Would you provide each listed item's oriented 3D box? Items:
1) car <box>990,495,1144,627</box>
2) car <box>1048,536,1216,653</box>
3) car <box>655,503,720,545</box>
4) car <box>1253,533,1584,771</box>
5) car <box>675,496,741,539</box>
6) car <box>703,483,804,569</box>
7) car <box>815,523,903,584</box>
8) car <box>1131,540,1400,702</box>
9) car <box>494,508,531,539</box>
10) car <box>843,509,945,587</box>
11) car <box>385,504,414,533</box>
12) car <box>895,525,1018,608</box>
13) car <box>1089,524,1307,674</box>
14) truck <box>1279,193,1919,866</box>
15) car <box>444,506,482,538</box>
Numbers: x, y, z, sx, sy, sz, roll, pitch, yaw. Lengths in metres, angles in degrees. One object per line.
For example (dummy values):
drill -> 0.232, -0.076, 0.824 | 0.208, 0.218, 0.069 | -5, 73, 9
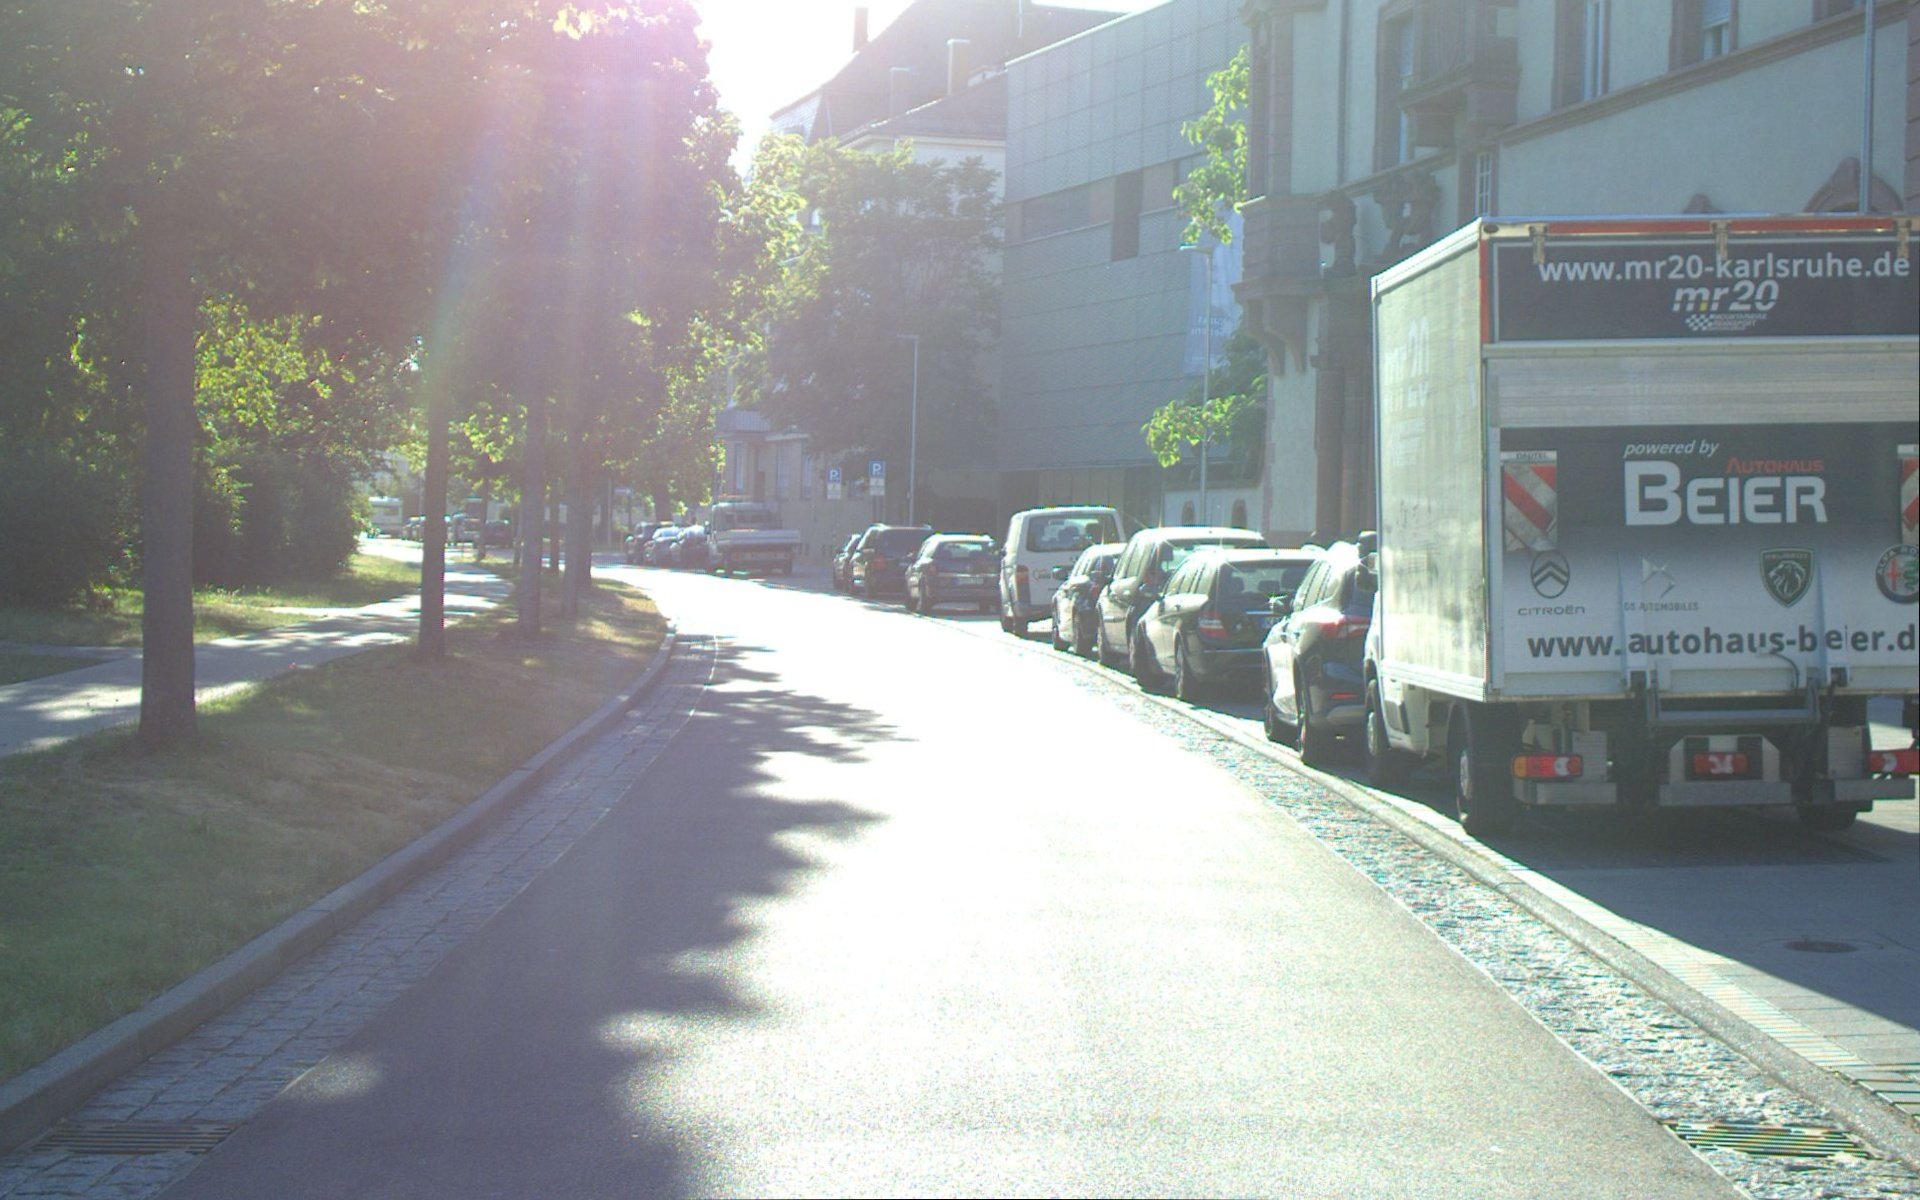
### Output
car -> 1.658, -0.646, 54.981 | 1.993, 1.959, 4.850 | -2, 1, -3
car -> 2.171, -0.111, 44.318 | 1.679, 1.398, 4.200 | -1, 1, -4
car -> -9.645, -2.701, 121.469 | 1.690, 1.435, 4.105 | 0, 2, -13
car -> 3.209, 0.299, 24.869 | 1.768, 1.525, 4.572 | -1, 1, 0
car -> -8.589, -2.817, 116.806 | 1.690, 1.435, 3.552 | 0, 2, -13
car -> -6.388, -2.300, 105.742 | 2.210, 2.521, 6.150 | -1, 2, -12
car -> -2.471, -1.144, 83.290 | 1.724, 1.416, 3.907 | 0, 2, -8
car -> 2.894, 0.149, 33.553 | 1.871, 1.431, 4.523 | 0, 1, -5
car -> -23.378, -4.000, 179.538 | 1.793, 1.504, 4.001 | 1, 1, -9
car -> -1.512, -1.190, 77.235 | 1.724, 1.663, 4.115 | 0, 2, -9
car -> -39.764, -5.789, 243.733 | 1.793, 1.992, 4.001 | 1, 1, -12
car -> -0.107, -0.677, 66.858 | 1.747, 1.461, 4.479 | 2, 1, -8
car -> 2.651, -0.057, 39.198 | 1.815, 1.596, 4.193 | 0, 1, -6
truck -> 3.499, -0.407, 19.097 | 2.623, 3.110, 6.088 | -1, 1, -2
car -> -27.888, -4.375, 192.814 | 1.793, 1.718, 4.001 | 1, 1, -12
